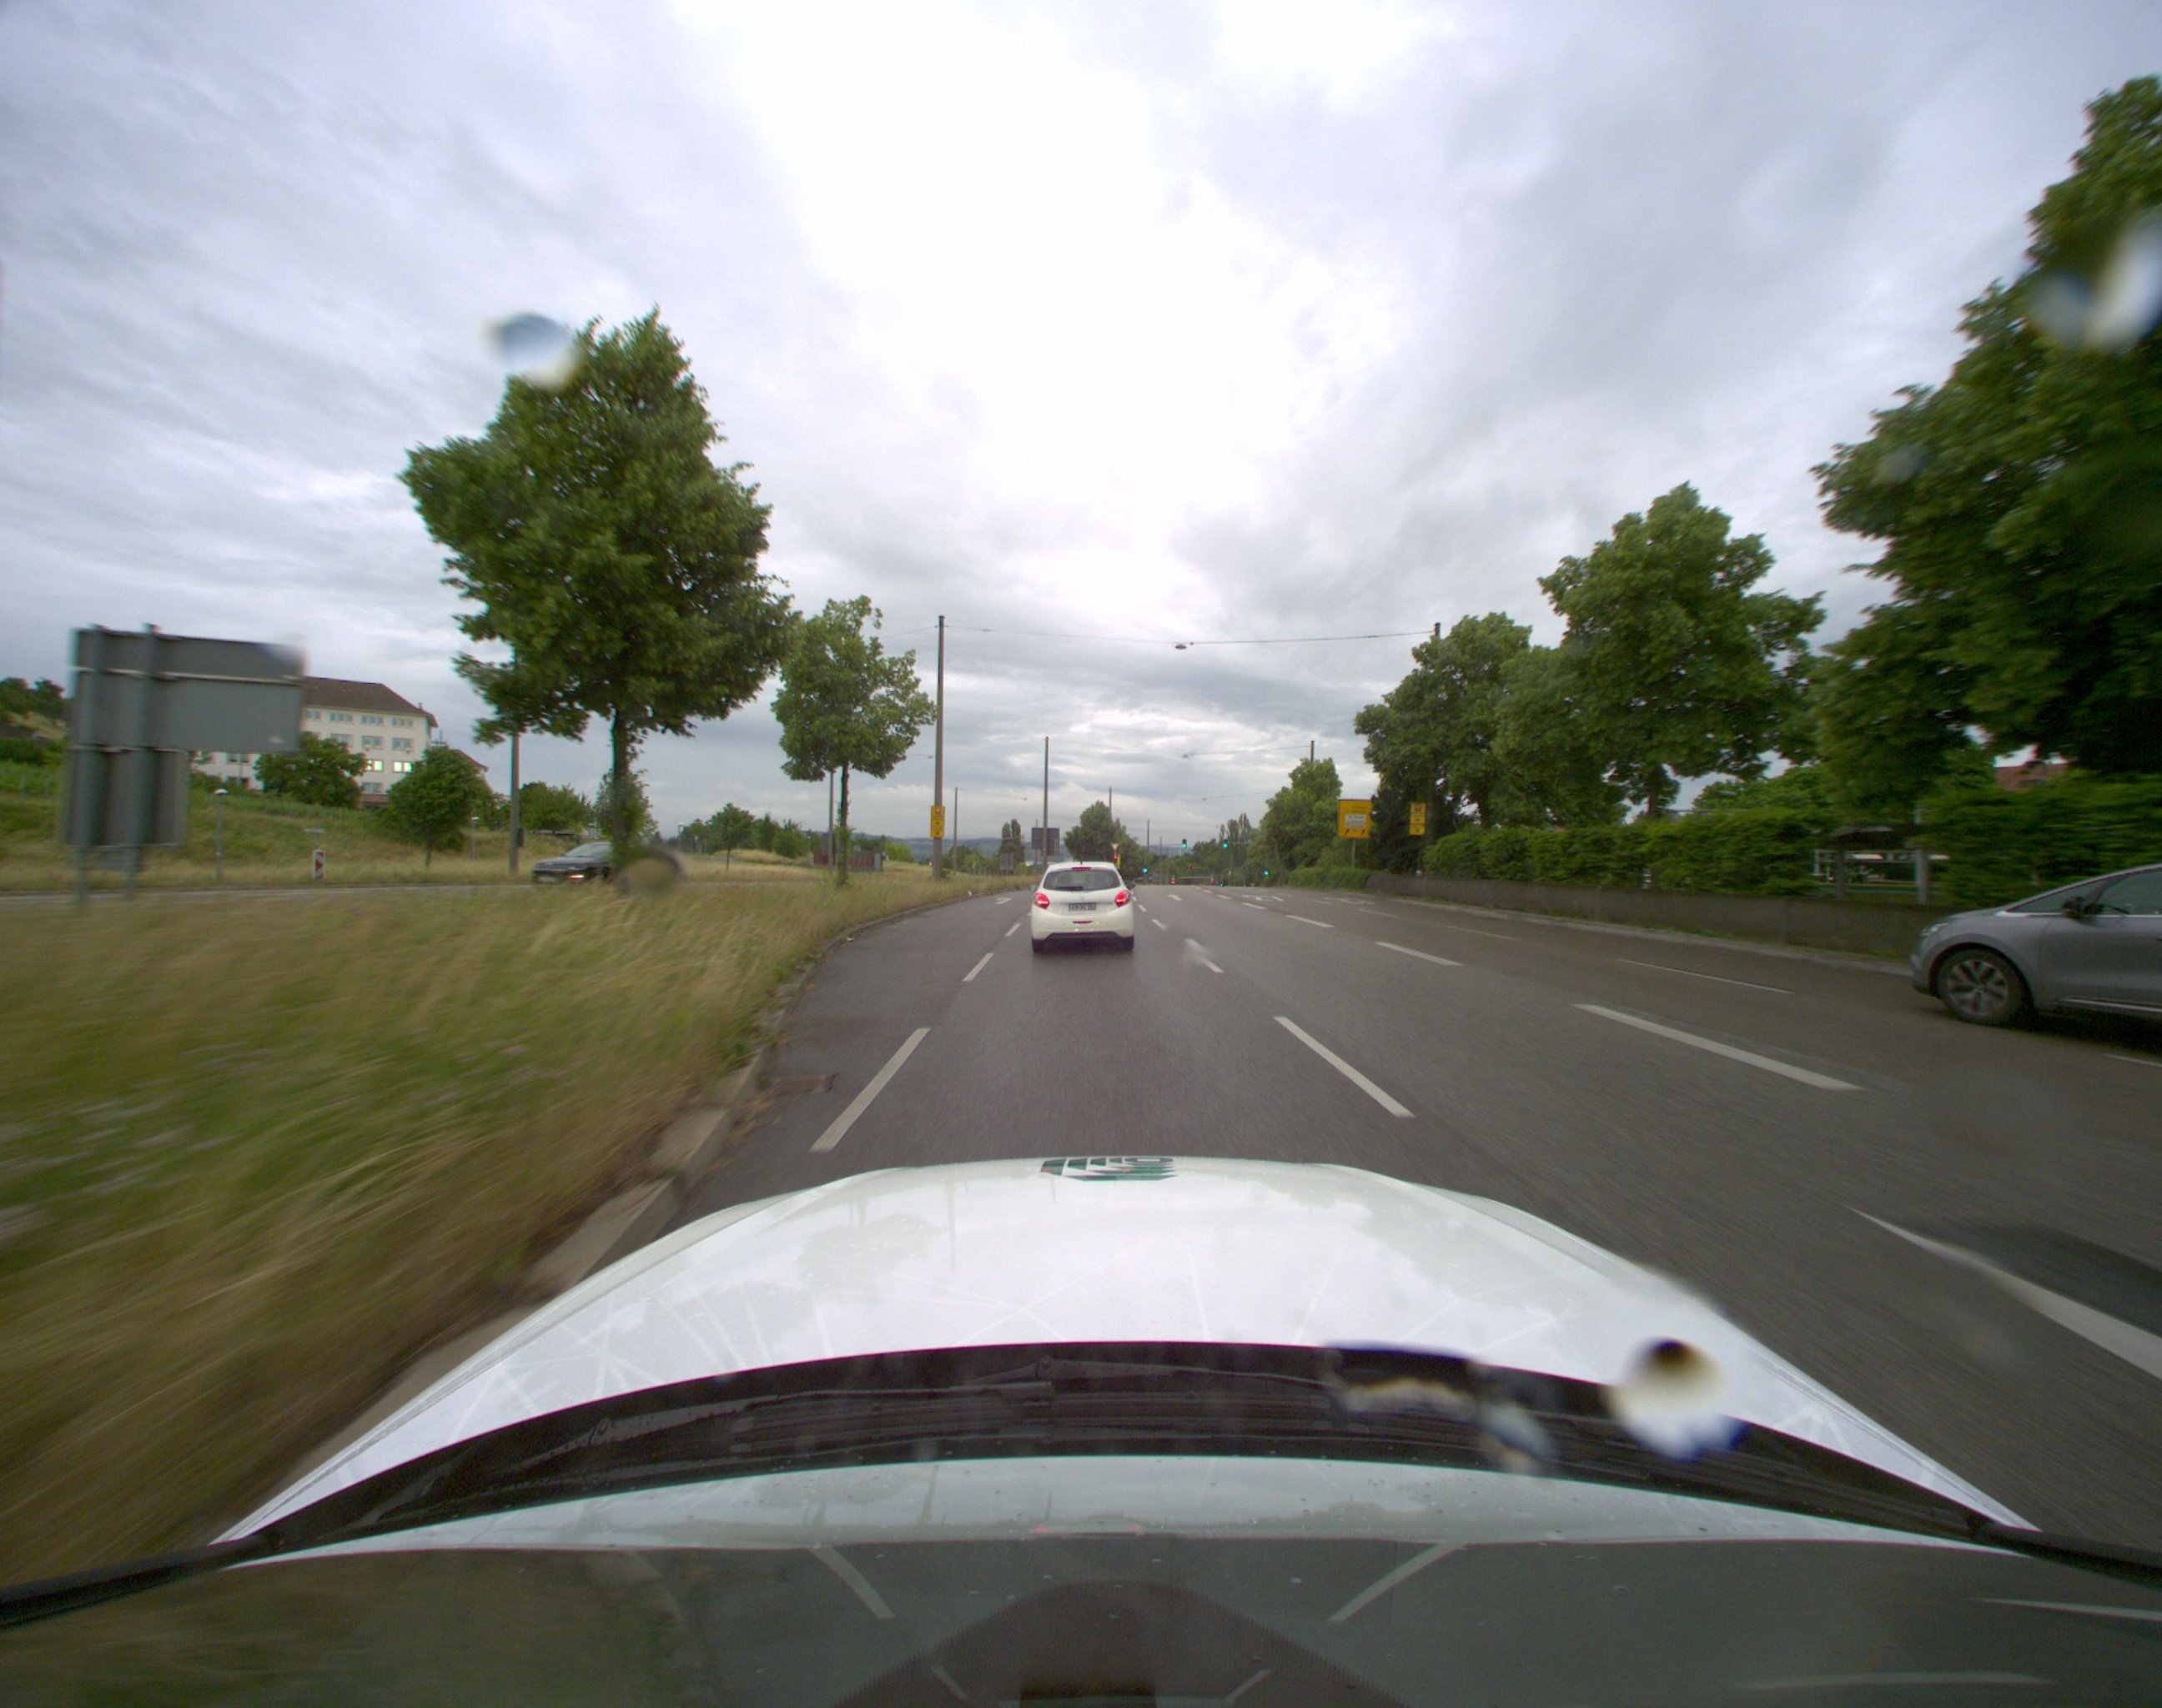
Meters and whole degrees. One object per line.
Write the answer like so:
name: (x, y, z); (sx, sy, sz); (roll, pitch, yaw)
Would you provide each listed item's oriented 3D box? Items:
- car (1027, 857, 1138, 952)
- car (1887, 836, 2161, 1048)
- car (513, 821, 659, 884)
car: (-0.004, 0.804, 14.541); (1.703, 1.440, 3.689); (-1, 0, -1)
car: (9.269, 0.714, 6.213); (1.719, 1.649, 4.626); (2, 0, 1)
car: (-14.848, -0.047, 24.725); (1.759, 1.750, 4.004); (0, 0, 4)
